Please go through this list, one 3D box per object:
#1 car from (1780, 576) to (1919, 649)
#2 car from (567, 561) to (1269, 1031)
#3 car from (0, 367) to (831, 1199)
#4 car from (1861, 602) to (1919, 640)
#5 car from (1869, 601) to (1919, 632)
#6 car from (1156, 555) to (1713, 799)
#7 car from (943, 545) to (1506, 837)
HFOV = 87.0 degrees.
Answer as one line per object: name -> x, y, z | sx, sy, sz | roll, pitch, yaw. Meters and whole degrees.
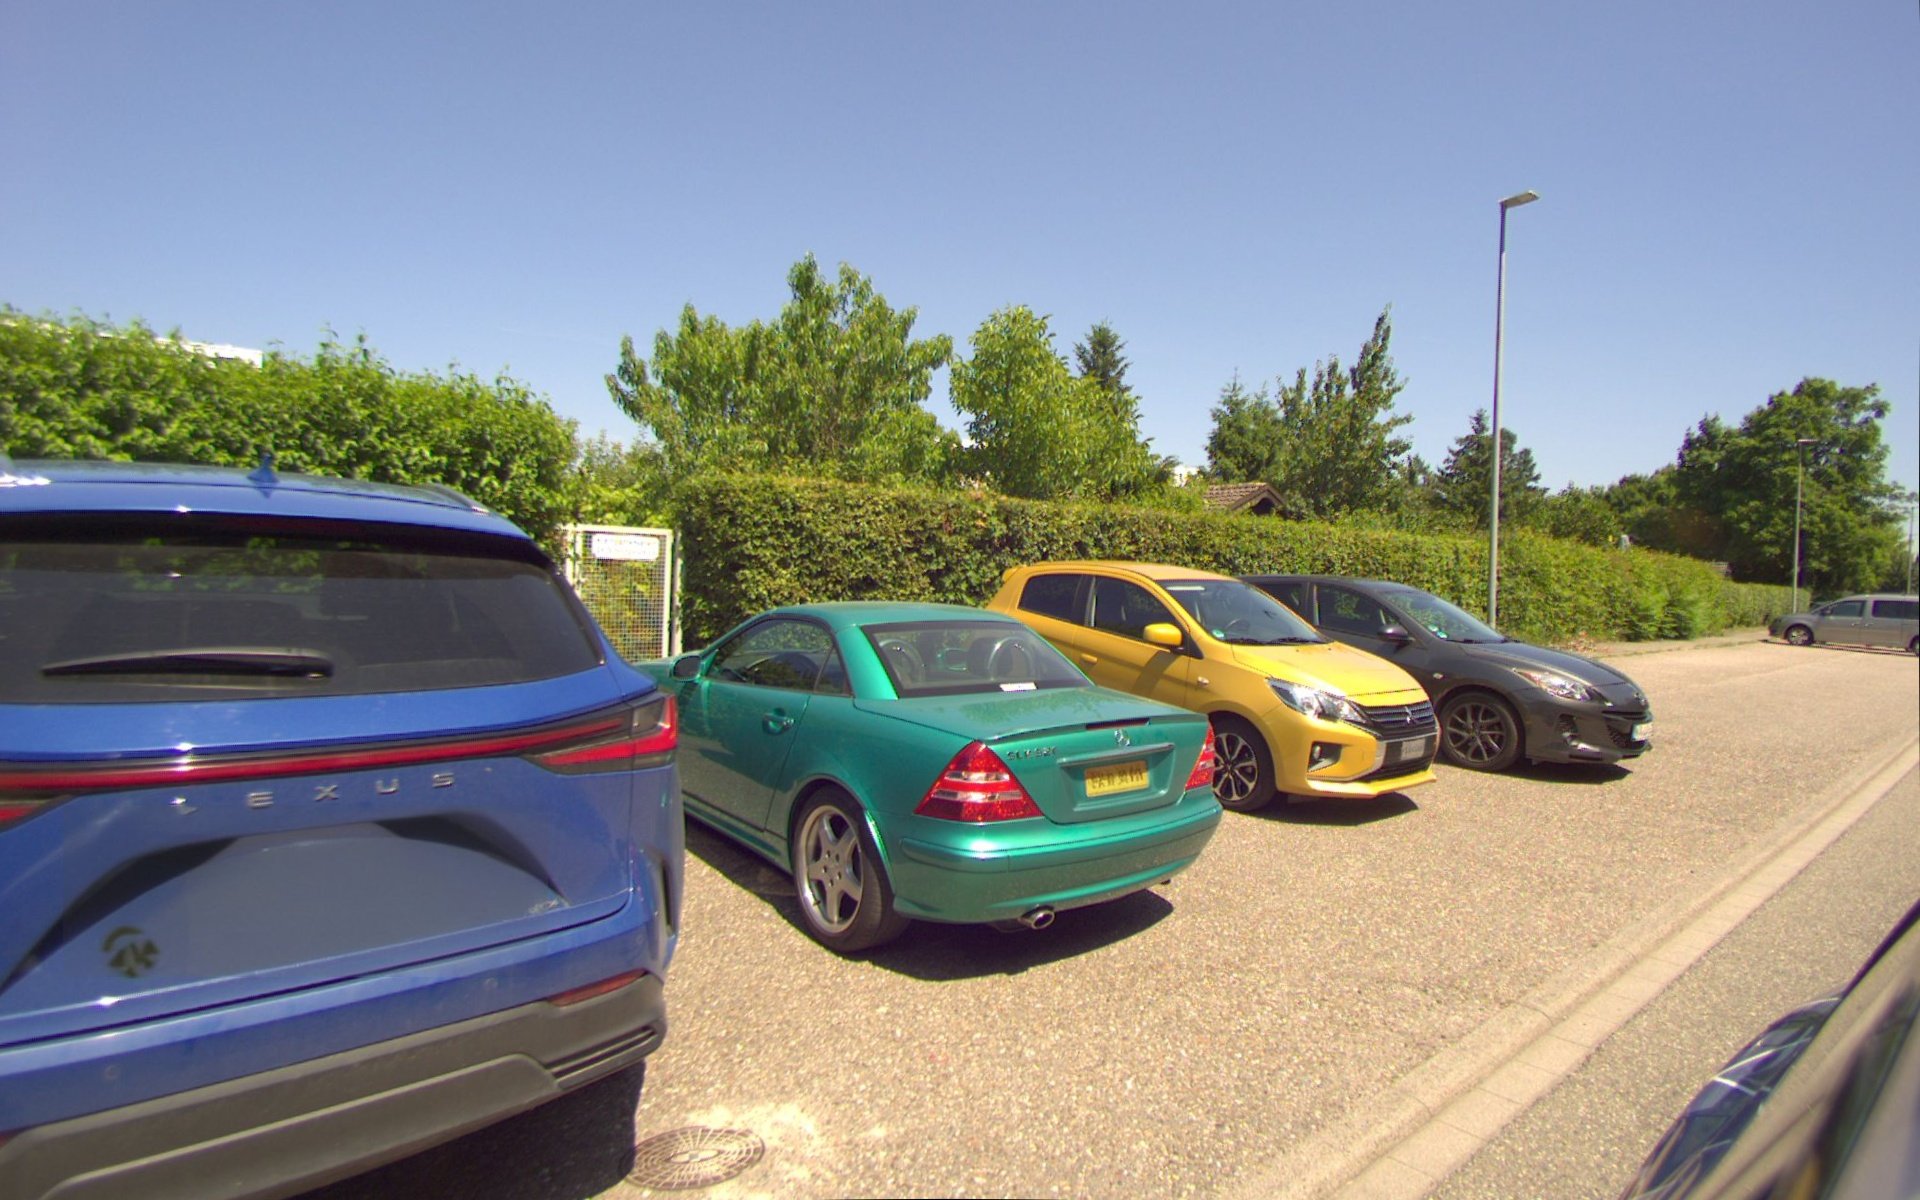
car -> 28.692, 0.425, 31.434 | 1.961, 1.870, 4.631 | 1, 5, -42
car -> -0.550, 0.563, 5.127 | 1.598, 1.283, 3.746 | 0, 5, -39
car -> -2.375, 0.361, 3.246 | 1.791, 1.653, 4.248 | 1, 4, -41
car -> 50.503, 1.232, 53.188 | 1.882, 1.724, 4.478 | 1, 5, -44
car -> 48.656, 0.871, 51.086 | 1.801, 1.470, 4.001 | 0, 2, -44
car -> 4.083, 0.472, 9.288 | 1.850, 1.513, 4.174 | 0, 5, -41
car -> 1.713, 0.431, 7.657 | 1.741, 1.472, 3.815 | 0, 4, -37
